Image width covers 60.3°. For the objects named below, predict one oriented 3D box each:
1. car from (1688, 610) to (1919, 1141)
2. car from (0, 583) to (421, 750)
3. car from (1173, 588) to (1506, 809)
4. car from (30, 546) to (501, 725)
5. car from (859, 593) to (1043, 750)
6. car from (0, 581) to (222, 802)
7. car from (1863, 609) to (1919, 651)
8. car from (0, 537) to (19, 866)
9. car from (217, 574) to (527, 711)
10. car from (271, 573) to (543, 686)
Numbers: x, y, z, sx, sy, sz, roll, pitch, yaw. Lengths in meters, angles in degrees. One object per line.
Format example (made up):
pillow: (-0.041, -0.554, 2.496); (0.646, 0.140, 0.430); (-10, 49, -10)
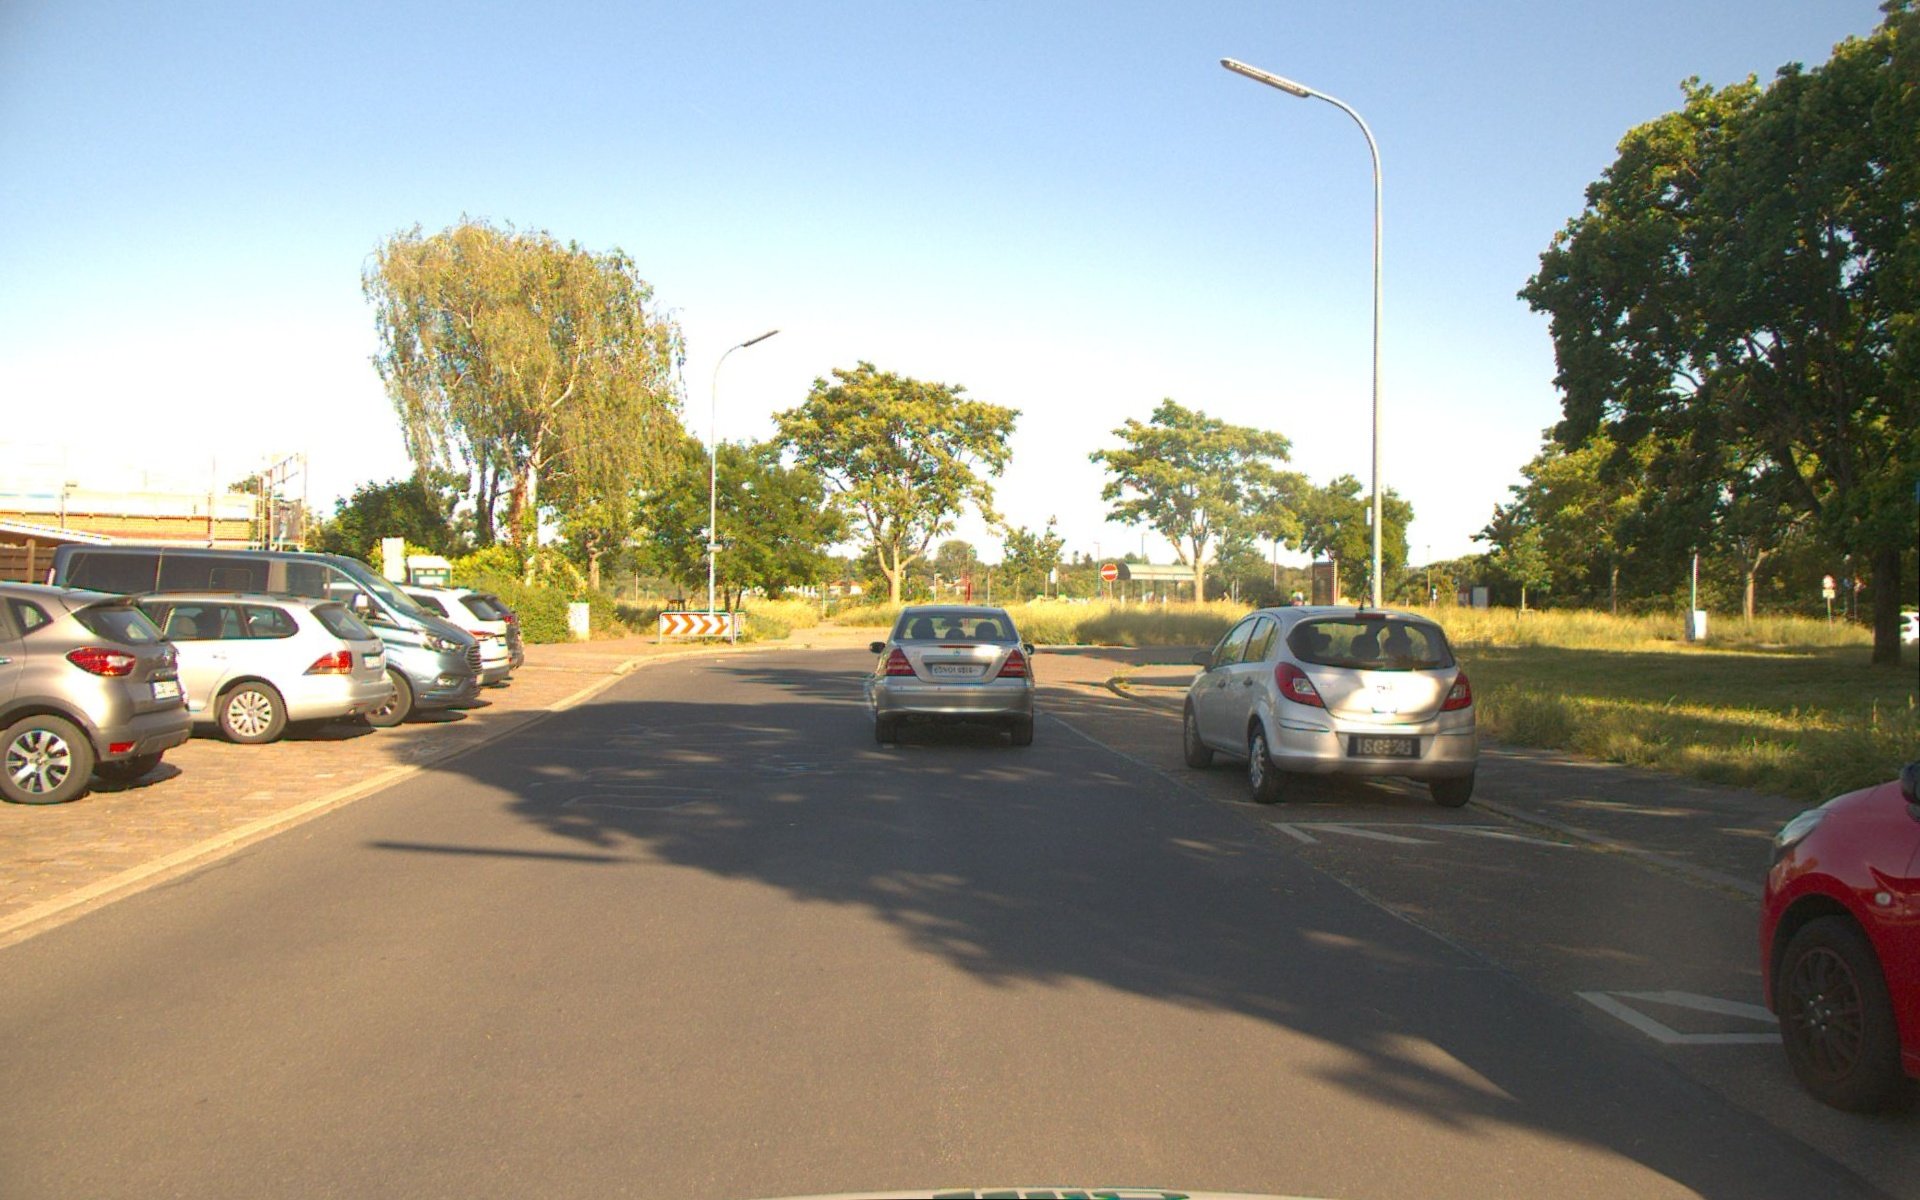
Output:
car: (3.491, 0.779, 4.042); (1.544, 1.472, 3.785); (2, -1, -4)
car: (-8.030, 0.668, 17.413); (4.055, 1.518, 1.924); (3, -1, -4)
car: (3.015, 0.742, 13.945); (1.697, 1.570, 3.785); (2, -1, -4)
car: (-8.175, 0.434, 19.905); (4.778, 1.949, 1.997); (1, -1, -7)
car: (-0.073, 0.701, 18.523); (1.779, 1.489, 4.361); (2, 0, 0)
car: (-7.861, 0.630, 12.520); (3.742, 1.559, 1.786); (1, -1, -8)
car: (35.687, 1.123, 61.565); (3.677, 1.505, 1.715); (1, 0, -23)
car: (-7.146, 0.507, 8.094); (3.900, 1.811, 1.923); (2, 0, -5)
car: (-7.930, 0.571, 22.573); (3.540, 1.635, 1.732); (3, -1, -2)
car: (-9.234, 0.496, 27.876); (3.907, 1.640, 1.817); (3, -1, -3)
